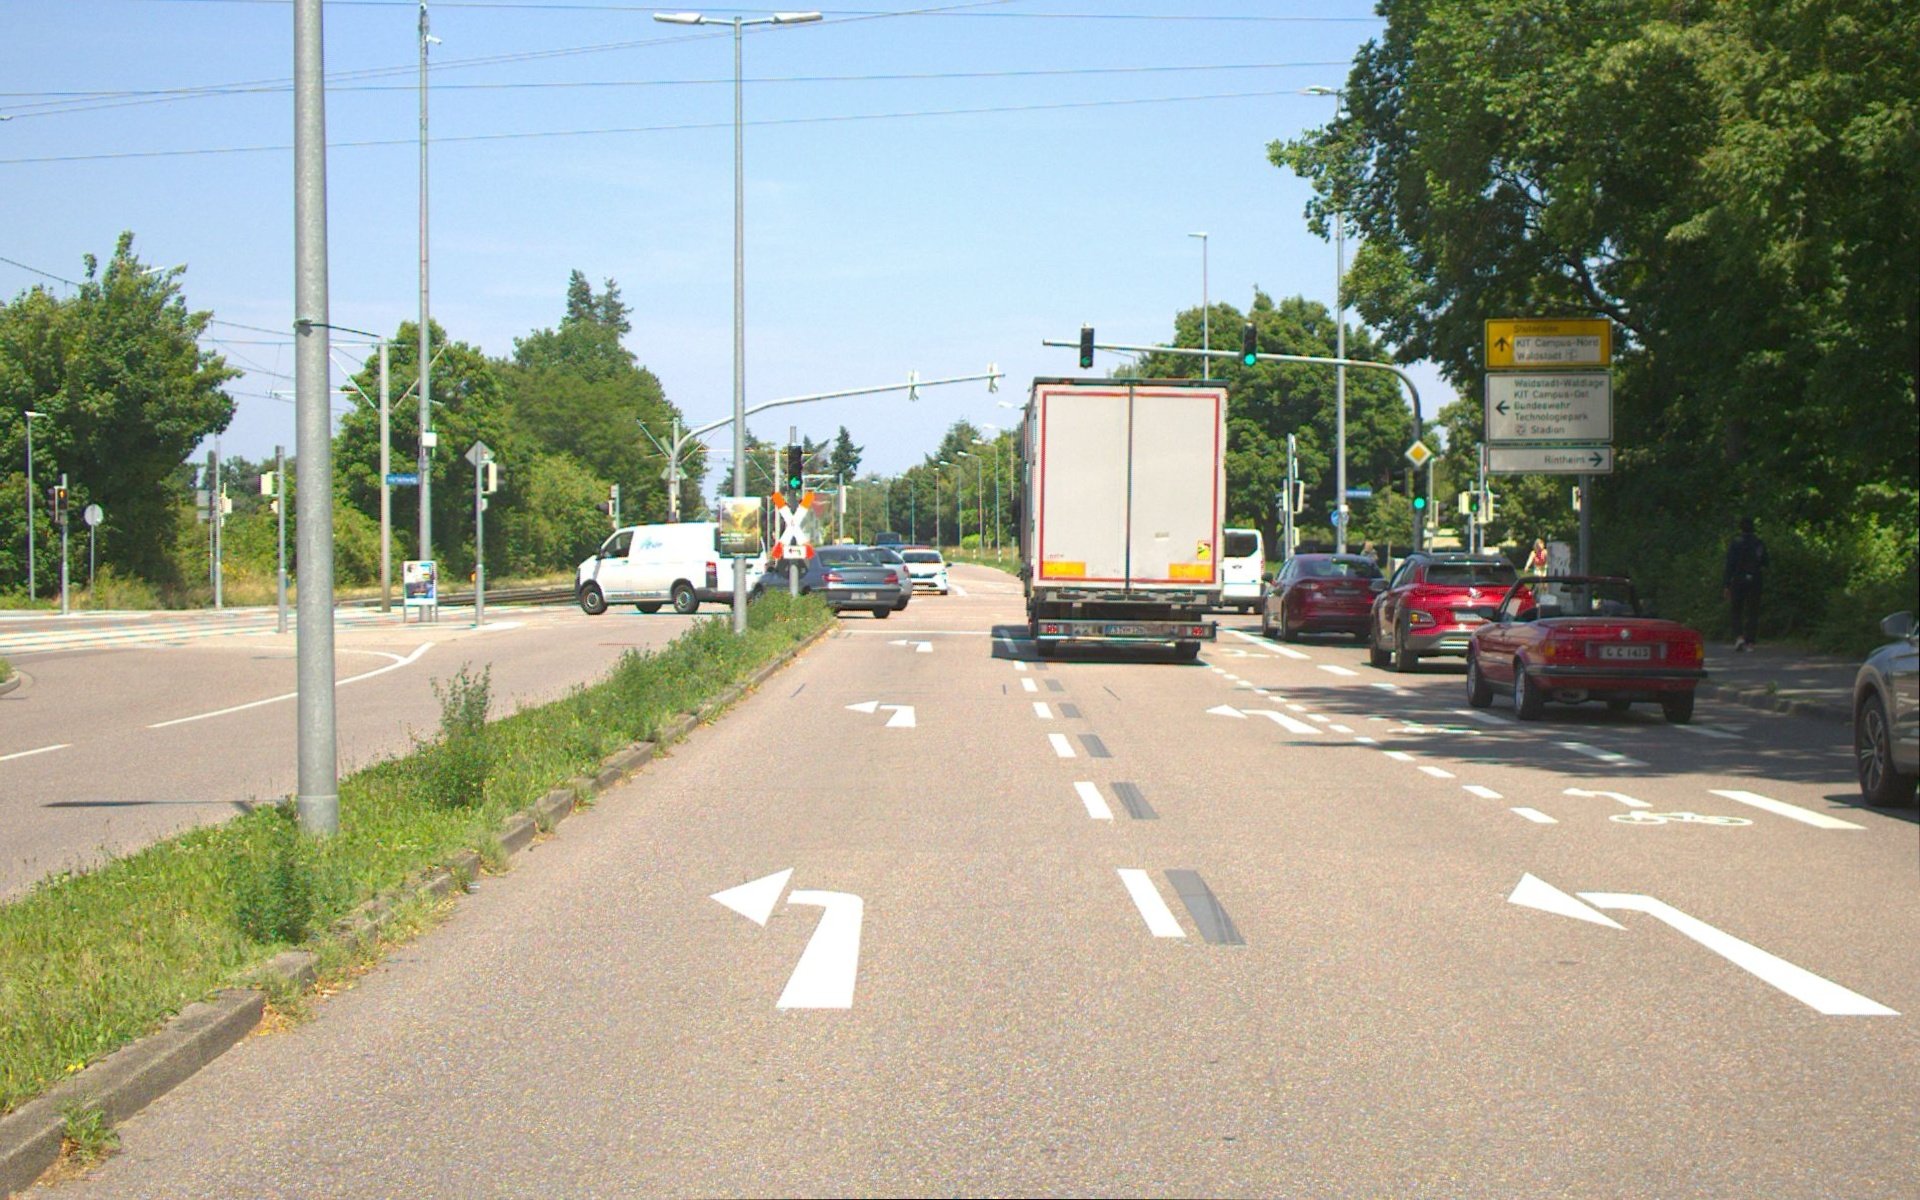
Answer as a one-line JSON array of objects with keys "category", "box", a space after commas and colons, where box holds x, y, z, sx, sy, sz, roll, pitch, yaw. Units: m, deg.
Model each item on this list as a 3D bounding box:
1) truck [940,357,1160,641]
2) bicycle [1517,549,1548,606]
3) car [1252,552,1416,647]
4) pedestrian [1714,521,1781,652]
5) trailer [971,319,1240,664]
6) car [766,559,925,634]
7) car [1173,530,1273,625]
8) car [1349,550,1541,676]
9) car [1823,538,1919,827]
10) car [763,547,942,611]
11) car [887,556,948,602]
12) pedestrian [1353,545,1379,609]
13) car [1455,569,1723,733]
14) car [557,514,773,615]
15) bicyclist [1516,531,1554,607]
[{"category": "truck", "box": [1.375, -1.681, 57.556, 2.827, 4.329, 8.286, 2, 1, -4]}, {"category": "bicycle", "box": [13.390, -0.528, 80.382, 0.645, 1.300, 1.625, -2, 0, 11]}, {"category": "car", "box": [6.240, -0.035, 57.816, 1.993, 1.498, 4.503, 0, 1, -4]}, {"category": "pedestrian", "box": [10.983, -0.192, 47.963, 0.753, 1.809, 0.693, -1, 1, -1]}, {"category": "trailer", "box": [1.905, -1.474, 48.964, 2.827, 4.406, 8.751, 1, 1, -4]}, {"category": "car", "box": [-2.349, -0.086, 69.036, 1.892, 1.367, 4.431, 2, 0, -20]}, {"category": "car", "box": [6.107, -0.535, 80.068, 1.890, 2.114, 3.887, 1, 1, -1]}, {"category": "car", "box": [6.362, 0.139, 45.466, 1.858, 1.544, 3.887, 1, 1, -1]}, {"category": "car", "box": [6.360, 0.494, 19.497, 1.699, 1.648, 4.399, 1, 1, -1]}, {"category": "car", "box": [-2.522, -0.513, 79.428, 1.893, 1.367, 4.429, -1, 2, -38]}, {"category": "car", "box": [-1.350, -0.682, 108.414, 1.858, 1.368, 4.156, 1, 1, -1]}, {"category": "pedestrian", "box": [13.023, -0.737, 110.314, 0.742, 2.007, 0.613, 1, 1, 1]}, {"category": "car", "box": [5.929, 0.440, 32.881, 1.654, 1.392, 4.267, 1, 1, -1]}, {"category": "car", "box": [-6.468, -0.805, 75.010, 4.744, 2.104, 1.995, 2, 2, 42]}, {"category": "bicyclist", "box": [13.425, -0.719, 80.218, 0.802, 1.721, 0.678, -2, 0, 11]}]
